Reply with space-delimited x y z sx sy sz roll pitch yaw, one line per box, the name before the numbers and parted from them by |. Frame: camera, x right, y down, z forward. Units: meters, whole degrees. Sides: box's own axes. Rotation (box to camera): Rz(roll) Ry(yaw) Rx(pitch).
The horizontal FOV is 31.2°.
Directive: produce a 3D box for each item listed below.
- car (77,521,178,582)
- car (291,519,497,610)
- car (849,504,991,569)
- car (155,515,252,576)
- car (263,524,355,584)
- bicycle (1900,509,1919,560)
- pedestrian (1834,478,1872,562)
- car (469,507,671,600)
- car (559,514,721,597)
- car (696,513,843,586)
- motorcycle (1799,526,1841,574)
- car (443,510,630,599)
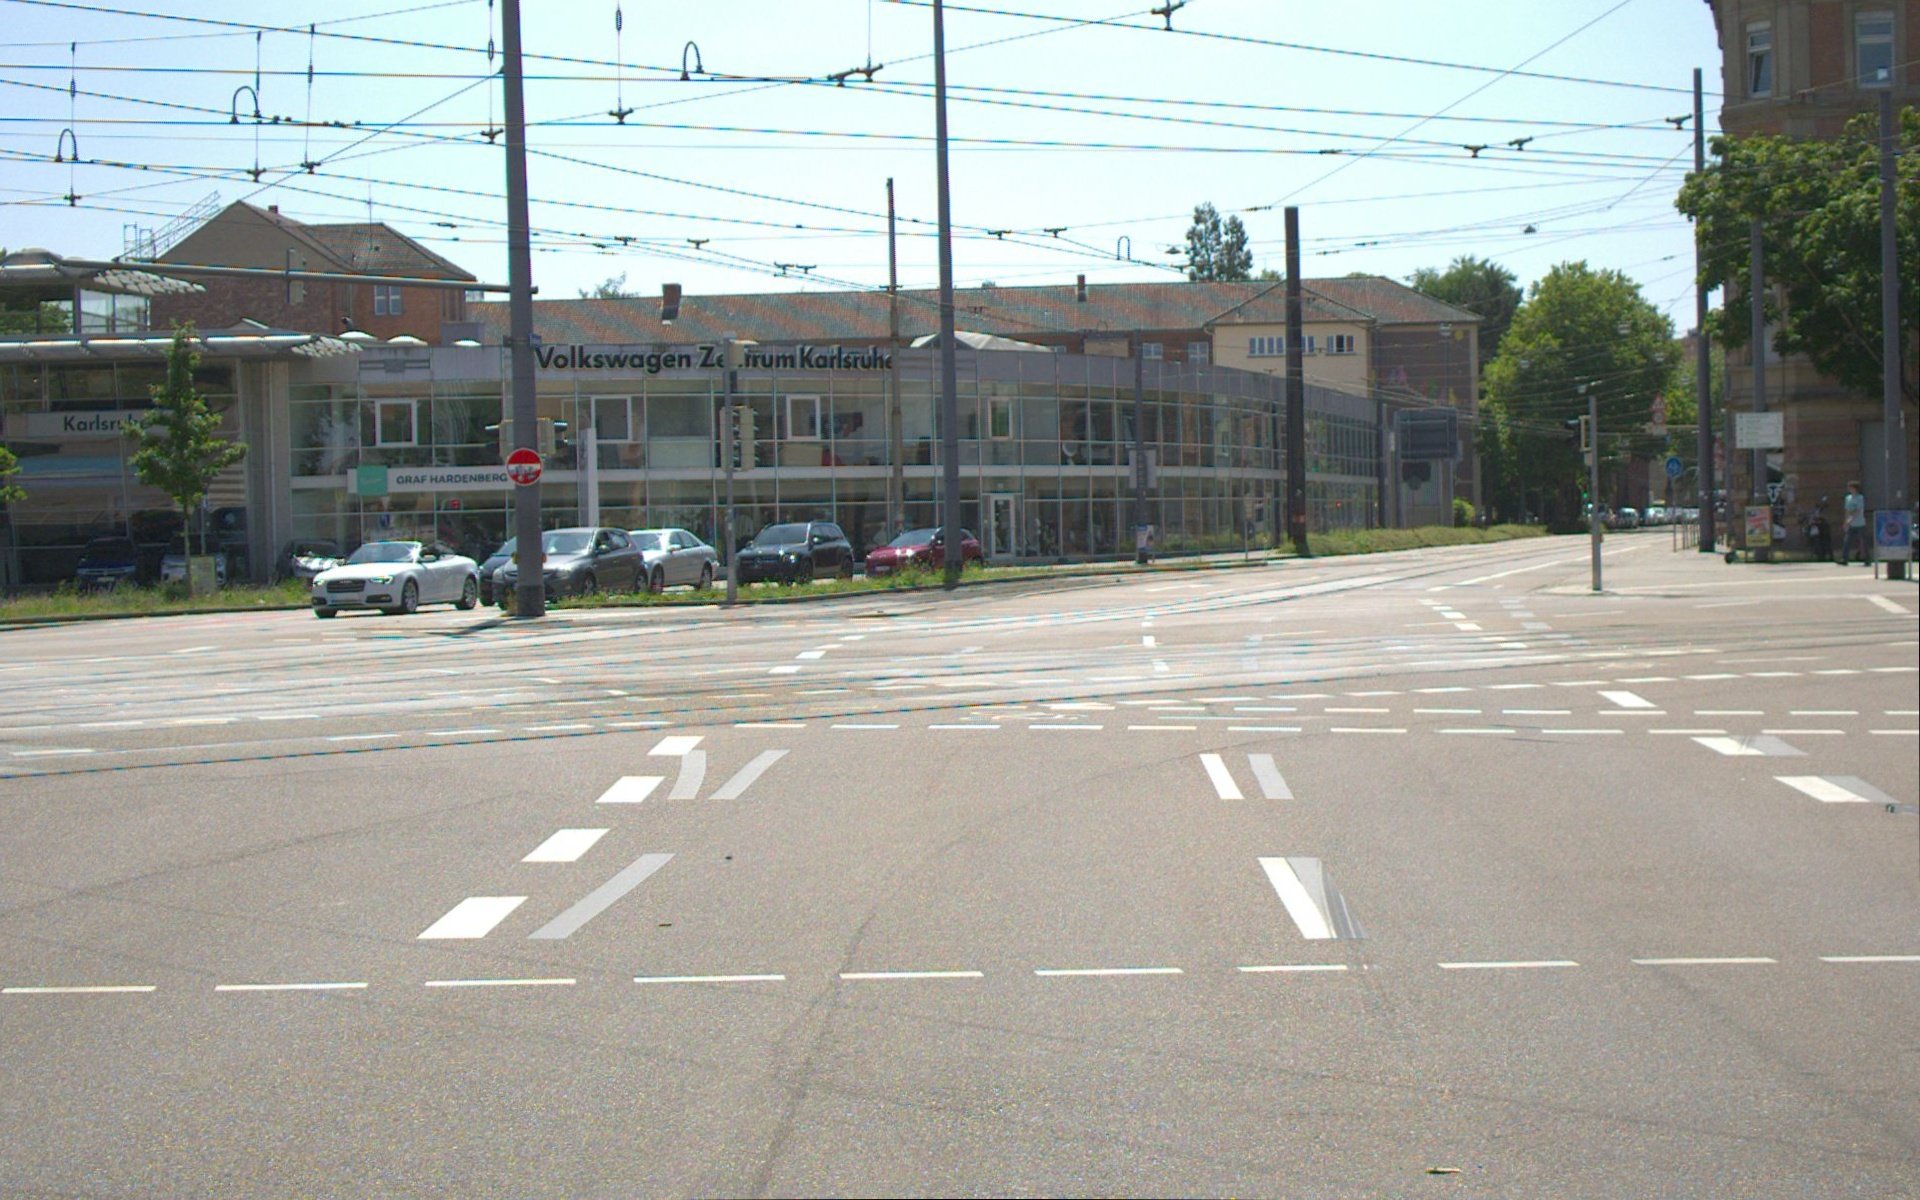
car | -24.203 -1.406 100.060 1.920 1.701 4.000 1 0 0
car | -10.507 -0.698 64.214 2.078 1.574 4.844 -1 1 13
car | -1.115 -1.782 96.817 1.998 1.769 3.992 1 1 36
car | -22.001 -1.573 100.066 1.920 1.701 4.000 1 0 0
car | -18.958 -1.336 100.260 1.920 1.701 4.000 1 0 0
bicycle | 22.141 -1.500 79.466 0.442 1.142 2.093 1 0 6
pedestrian | 18.170 -1.632 69.930 0.460 1.702 0.640 -1 1 -15
car | -7.261 -0.893 64.522 1.995 1.631 4.843 -1 1 17
car | -7.056 -1.012 76.294 1.995 1.733 4.540 -1 1 17
car | -4.654 -1.271 84.869 2.080 1.677 4.843 -1 1 17
motorcycle | 19.768 -1.158 79.045 0.580 1.071 1.946 -1 1 3
car | -8.612 -0.960 70.350 1.995 1.694 4.843 -1 1 17
